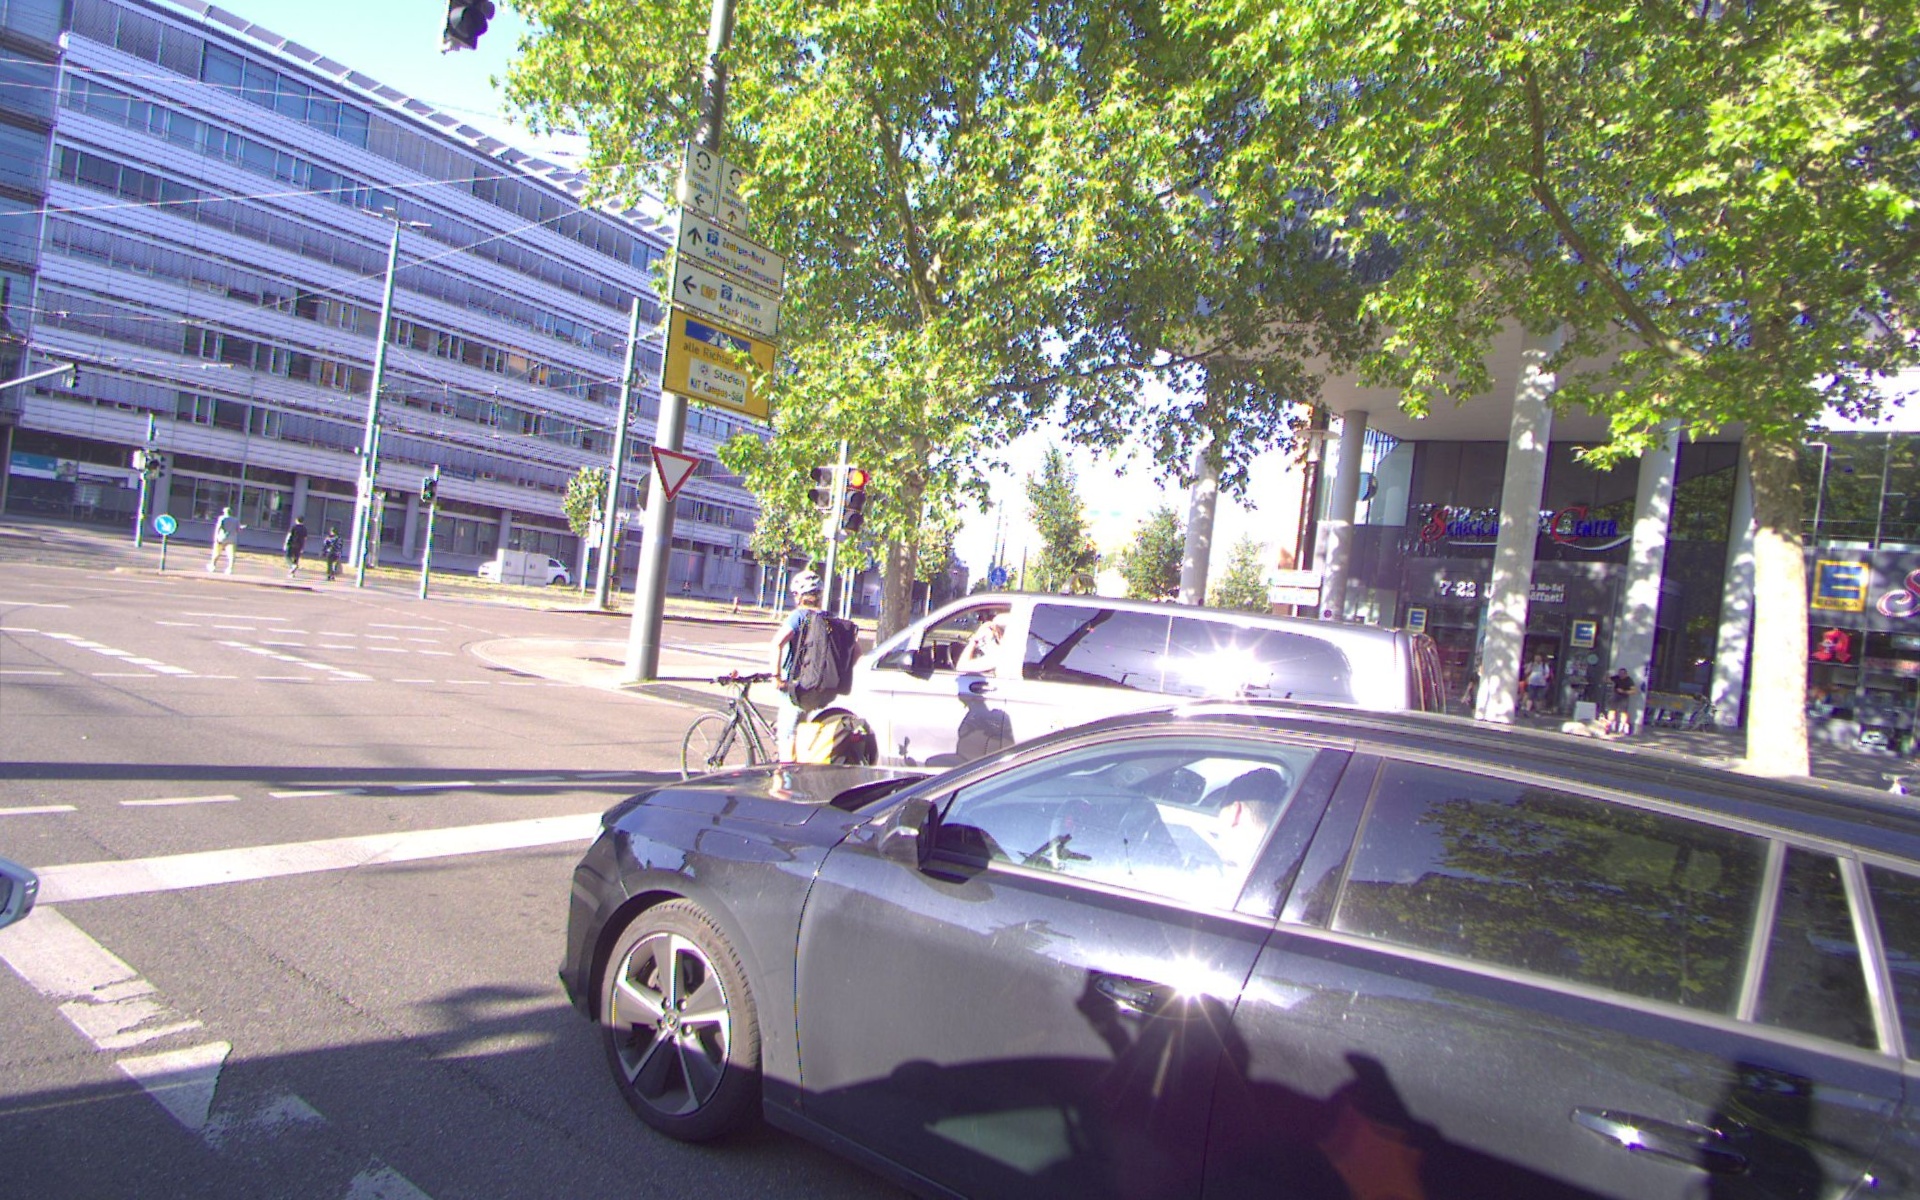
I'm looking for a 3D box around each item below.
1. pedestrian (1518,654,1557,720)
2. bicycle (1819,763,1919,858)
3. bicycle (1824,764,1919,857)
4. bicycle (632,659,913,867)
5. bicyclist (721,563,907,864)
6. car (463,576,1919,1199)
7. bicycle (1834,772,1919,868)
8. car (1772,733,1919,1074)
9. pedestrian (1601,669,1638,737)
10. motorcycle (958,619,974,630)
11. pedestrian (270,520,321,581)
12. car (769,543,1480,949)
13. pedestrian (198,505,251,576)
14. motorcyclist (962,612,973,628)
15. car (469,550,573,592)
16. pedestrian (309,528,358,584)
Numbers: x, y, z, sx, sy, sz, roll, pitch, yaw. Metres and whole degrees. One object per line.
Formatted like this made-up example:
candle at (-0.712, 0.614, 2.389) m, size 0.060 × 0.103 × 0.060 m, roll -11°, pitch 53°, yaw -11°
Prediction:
pedestrian at (16.853, 2.540, 29.343) m, size 0.595 × 1.805 × 0.882 m, roll 7°, pitch 1°, yaw 45°
bicycle at (11.206, 2.542, 12.081) m, size 0.437 × 0.930 × 1.210 m, roll 6°, pitch 0°, yaw -39°
bicycle at (11.504, 2.604, 12.353) m, size 0.460 × 0.938 × 1.210 m, roll 6°, pitch 0°, yaw -39°
bicycle at (-1.275, 1.006, 6.647) m, size 1.839 × 0.993 × 0.561 m, roll 7°, pitch 1°, yaw 32°
bicyclist at (-0.920, 0.683, 6.372) m, size 0.766 × 1.714 × 0.632 m, roll 7°, pitch 1°, yaw 32°
car at (0.769, 0.929, 2.753) m, size 4.199 × 1.431 × 1.742 m, roll 7°, pitch -2°, yaw 32°
bicycle at (10.548, 2.476, 11.094) m, size 1.233 × 0.898 × 0.462 m, roll 7°, pitch 1°, yaw 32°
car at (6.589, 1.738, 4.560) m, size 4.181 × 1.503 × 1.741 m, roll 7°, pitch 0°, yaw 31°
pedestrian at (17.537, 2.737, 26.751) m, size 0.598 × 1.707 × 0.511 m, roll 6°, pitch 1°, yaw -41°
motorcycle at (0.515, 2.087, 86.673) m, size 0.460 × 0.820 × 1.568 m, roll 7°, pitch 0°, yaw 36°
pedestrian at (-20.313, -1.502, 30.761) m, size 1.020 × 1.706 × 0.912 m, roll 7°, pitch 1°, yaw 39°
car at (1.123, 0.840, 7.939) m, size 5.012 × 2.004 × 1.939 m, roll 7°, pitch 0°, yaw 31°
pedestrian at (-20.471, -1.650, 27.995) m, size 0.859 × 1.811 × 0.863 m, roll 7°, pitch 1°, yaw 39°
motorcyclist at (0.623, 1.698, 86.758) m, size 0.452 × 1.291 × 0.712 m, roll 7°, pitch 1°, yaw 36°
car at (-21.691, -1.404, 49.838) m, size 1.735 × 1.506 × 4.293 m, roll 7°, pitch 0°, yaw 38°
pedestrian at (-19.599, -1.375, 31.466) m, size 0.883 × 1.583 × 0.947 m, roll 7°, pitch 1°, yaw 39°
